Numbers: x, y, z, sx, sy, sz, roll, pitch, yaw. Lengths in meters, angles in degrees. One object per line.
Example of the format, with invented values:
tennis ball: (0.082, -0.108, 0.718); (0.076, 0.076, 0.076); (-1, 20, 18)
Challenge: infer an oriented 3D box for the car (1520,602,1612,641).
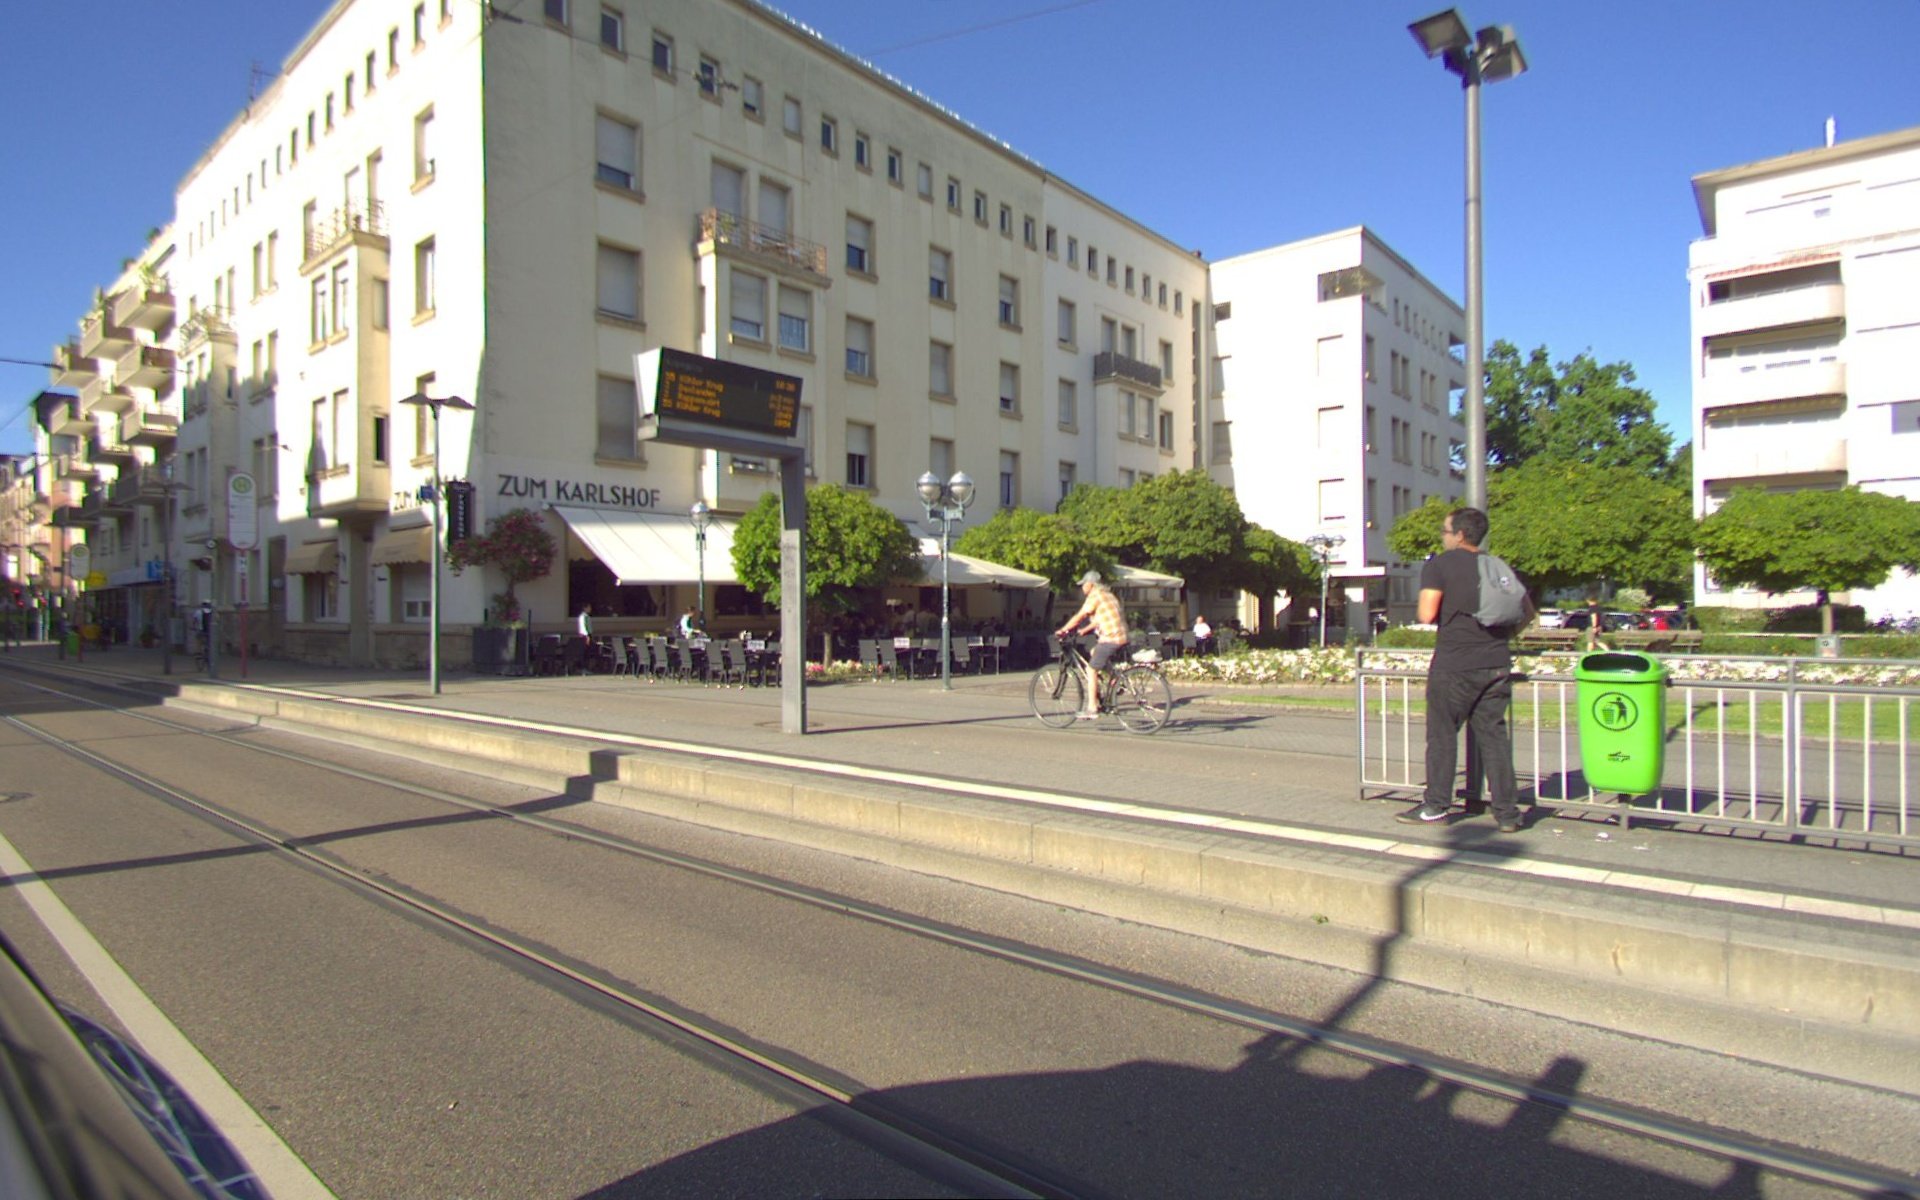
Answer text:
car: (24.149, 0.867, 40.352); (2.932, 1.497, 1.399); (-1, -1, 41)

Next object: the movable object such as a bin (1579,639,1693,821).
movable object such as a bin: (3.436, 0.635, 5.146); (0.416, 0.866, 0.332); (-1, -1, 44)

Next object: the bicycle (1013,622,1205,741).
bicycle: (1.529, 0.802, 10.686); (0.719, 1.121, 1.978); (0, -1, -44)

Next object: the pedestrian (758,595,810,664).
pedestrian: (-4.380, 0.728, 25.162); (0.755, 1.657, 1.054); (-1, -1, 36)

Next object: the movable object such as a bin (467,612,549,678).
movable object such as a bin: (-9.996, 0.970, 22.372); (1.127, 1.410, 1.302); (-1, -1, 40)

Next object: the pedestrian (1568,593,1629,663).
pedestrian: (17.050, 0.744, 27.006); (1.177, 1.801, 1.066); (-2, -1, 43)

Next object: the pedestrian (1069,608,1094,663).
pedestrian: (4.030, 1.184, 33.565); (0.677, 1.750, 0.671); (-3, -4, 14)

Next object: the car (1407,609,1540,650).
car: (17.612, 1.000, 34.792); (3.713, 1.310, 1.973); (-1, -1, 41)

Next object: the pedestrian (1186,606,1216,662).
pedestrian: (7.672, 1.094, 32.254); (0.710, 1.750, 0.673); (-2, -4, 1)

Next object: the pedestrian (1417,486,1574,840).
pedestrian: (2.841, 0.319, 5.372); (0.607, 1.731, 0.542); (-1, -3, 43)

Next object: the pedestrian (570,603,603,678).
pedestrian: (-8.489, 0.923, 22.973); (0.662, 1.657, 0.753); (0, -4, -22)

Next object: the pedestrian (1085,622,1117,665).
pedestrian: (4.273, 1.314, 30.641); (0.672, 1.280, 0.636); (-5, -5, 36)

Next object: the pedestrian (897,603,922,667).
pedestrian: (-1.455, 1.000, 29.405); (0.641, 1.837, 0.576); (-1, -1, 5)

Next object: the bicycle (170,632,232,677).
bicycle: (-19.973, 1.405, 26.613); (2.031, 1.134, 0.705); (-1, -1, 35)

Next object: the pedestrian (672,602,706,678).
pedestrian: (-6.061, 0.896, 22.650); (0.663, 1.657, 0.678); (-1, -4, -12)

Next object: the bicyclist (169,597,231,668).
bicyclist: (-19.931, 0.835, 26.543); (1.092, 1.807, 0.996); (-1, -1, 33)

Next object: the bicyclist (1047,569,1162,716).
bicyclist: (1.522, 0.422, 10.685); (0.818, 1.466, 0.878); (-1, 0, -44)
